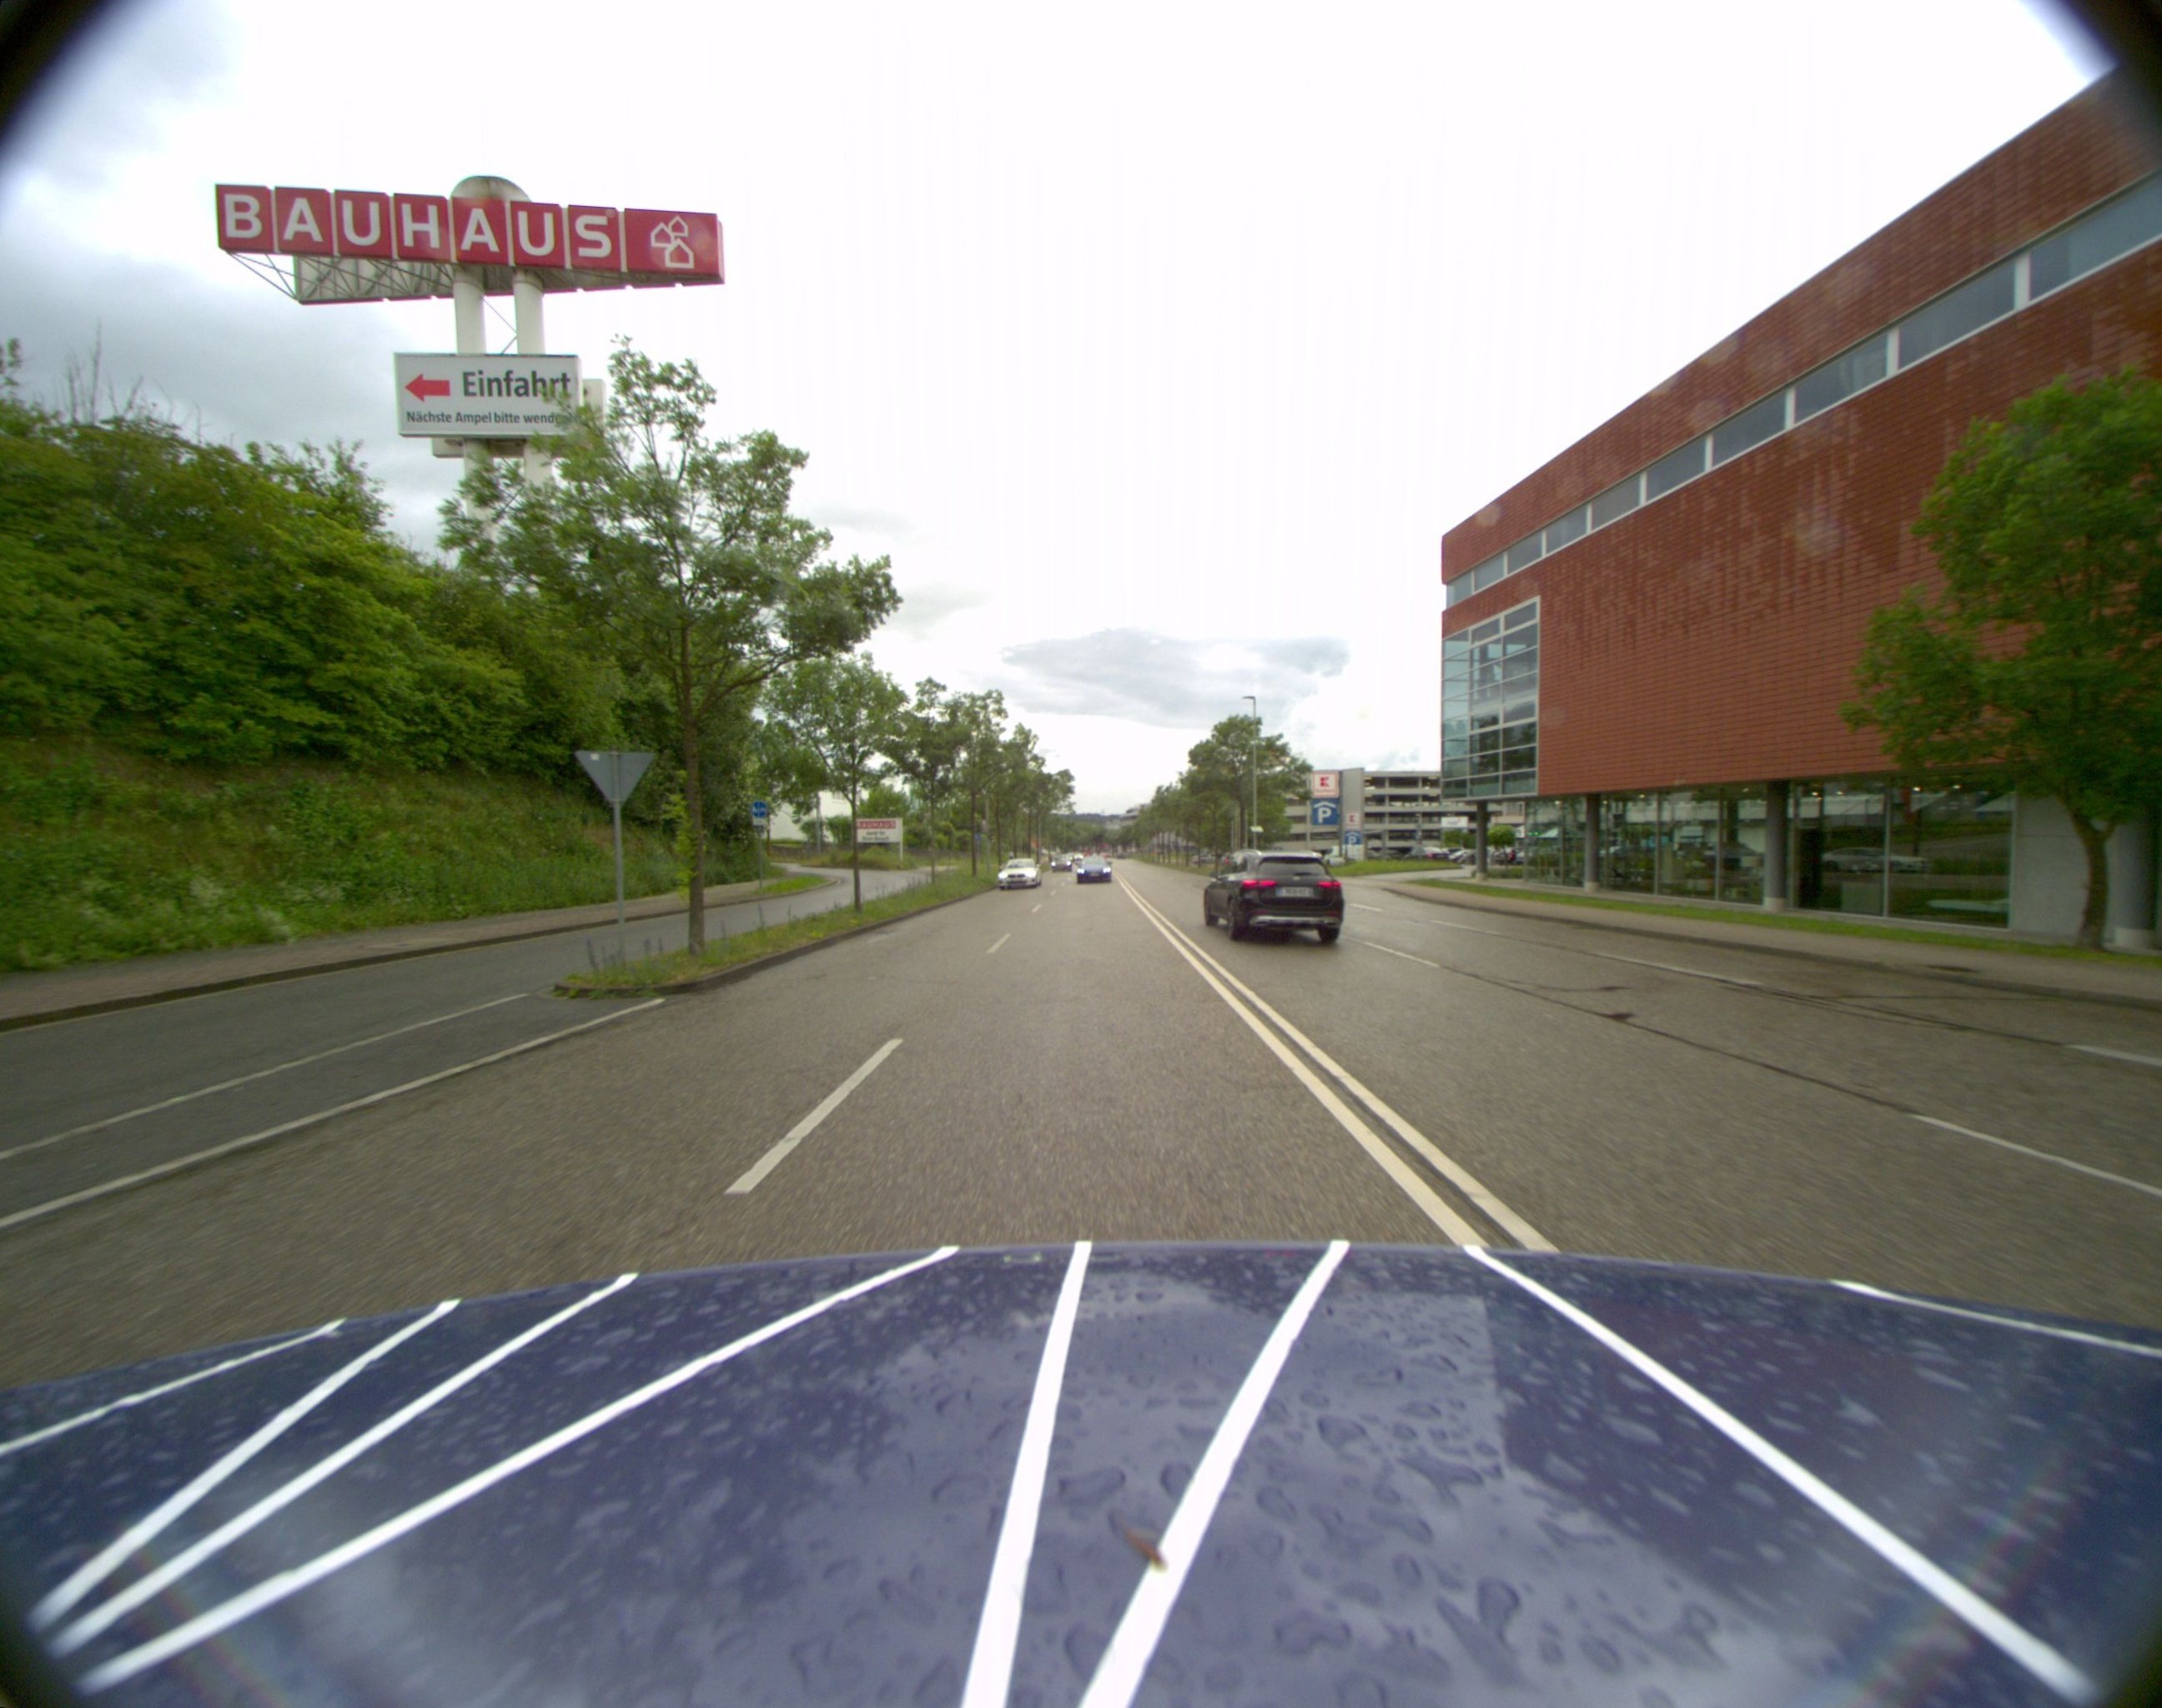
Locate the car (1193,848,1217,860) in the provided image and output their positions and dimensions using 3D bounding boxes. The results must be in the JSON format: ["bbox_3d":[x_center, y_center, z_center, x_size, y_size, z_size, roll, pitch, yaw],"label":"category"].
[{"bbox_3d":[19.225,0.045,117.672,1.845,1.839,4.008,0,0,41],"label":"car"}]

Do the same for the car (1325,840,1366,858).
[{"bbox_3d":[24.413,-0.439,70.333,1.834,1.608,4.436,-1,1,-7],"label":"car"}]

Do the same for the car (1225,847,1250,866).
[{"bbox_3d":[14.639,0.193,71.275,1.832,1.608,4.001,-2,0,6],"label":"car"}]

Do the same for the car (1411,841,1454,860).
[{"bbox_3d":[25.133,-0.270,54.474,1.509,1.276,3.449,-2,1,1],"label":"car"}]

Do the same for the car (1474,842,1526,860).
[{"bbox_3d":[38.294,-0.255,69.479,3.999,1.590,1.680,-1,1,-7],"label":"car"}]

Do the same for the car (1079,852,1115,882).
[{"bbox_3d":[0.817,0.658,40.902,1.827,1.473,4.839,0,1,0],"label":"car"}]

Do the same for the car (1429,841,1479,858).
[{"bbox_3d":[36.762,-0.441,74.969,4.060,1.608,1.834,-1,1,1],"label":"car"}]

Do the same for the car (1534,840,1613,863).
[{"bbox_3d":[34.660,-0.179,53.538,4.436,1.608,1.833,-1,1,-2],"label":"car"}]

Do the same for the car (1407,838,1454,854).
[{"bbox_3d":[36.744,-0.866,79.930,4.060,1.608,1.834,-1,1,1],"label":"car"}]

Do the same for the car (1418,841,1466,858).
[{"bbox_3d":[36.733,-0.474,77.319,4.060,1.608,1.834,-1,1,1],"label":"car"}]

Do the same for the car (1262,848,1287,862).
[{"bbox_3d":[22.915,0.125,90.070,1.833,1.608,4.062,-1,1,-2],"label":"car"}]

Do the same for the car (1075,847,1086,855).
[{"bbox_3d":[-0.089,-0.658,153.578,1.853,1.565,3.998,-2,2,-3],"label":"car"}]

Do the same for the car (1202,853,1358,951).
[{"bbox_3d":[3.587,0.772,14.550,1.863,1.568,4.320,1,0,1],"label":"car"}]

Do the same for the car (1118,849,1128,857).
[{"bbox_3d":[9.755,-0.254,175.697,2.114,1.610,4.839,1,1,0],"label":"car"}]

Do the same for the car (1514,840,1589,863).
[{"bbox_3d":[34.622,-0.203,55.945,4.436,1.608,1.833,-1,1,-2],"label":"car"}]

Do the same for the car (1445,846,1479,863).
[{"bbox_3d":[33.031,0.004,65.938,1.439,1.414,3.497,-1,1,4],"label":"car"}]

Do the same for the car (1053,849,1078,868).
[{"bbox_3d":[-1.434,0.402,72.248,2.114,1.610,4.839,-2,1,0],"label":"car"}]

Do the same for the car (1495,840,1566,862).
[{"bbox_3d":[34.592,-0.250,58.530,4.436,1.608,1.833,-1,1,-2],"label":"car"}]

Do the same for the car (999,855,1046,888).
[{"bbox_3d":[-2.899,0.829,38.321,1.864,1.473,4.000,-1,1,3],"label":"car"}]
